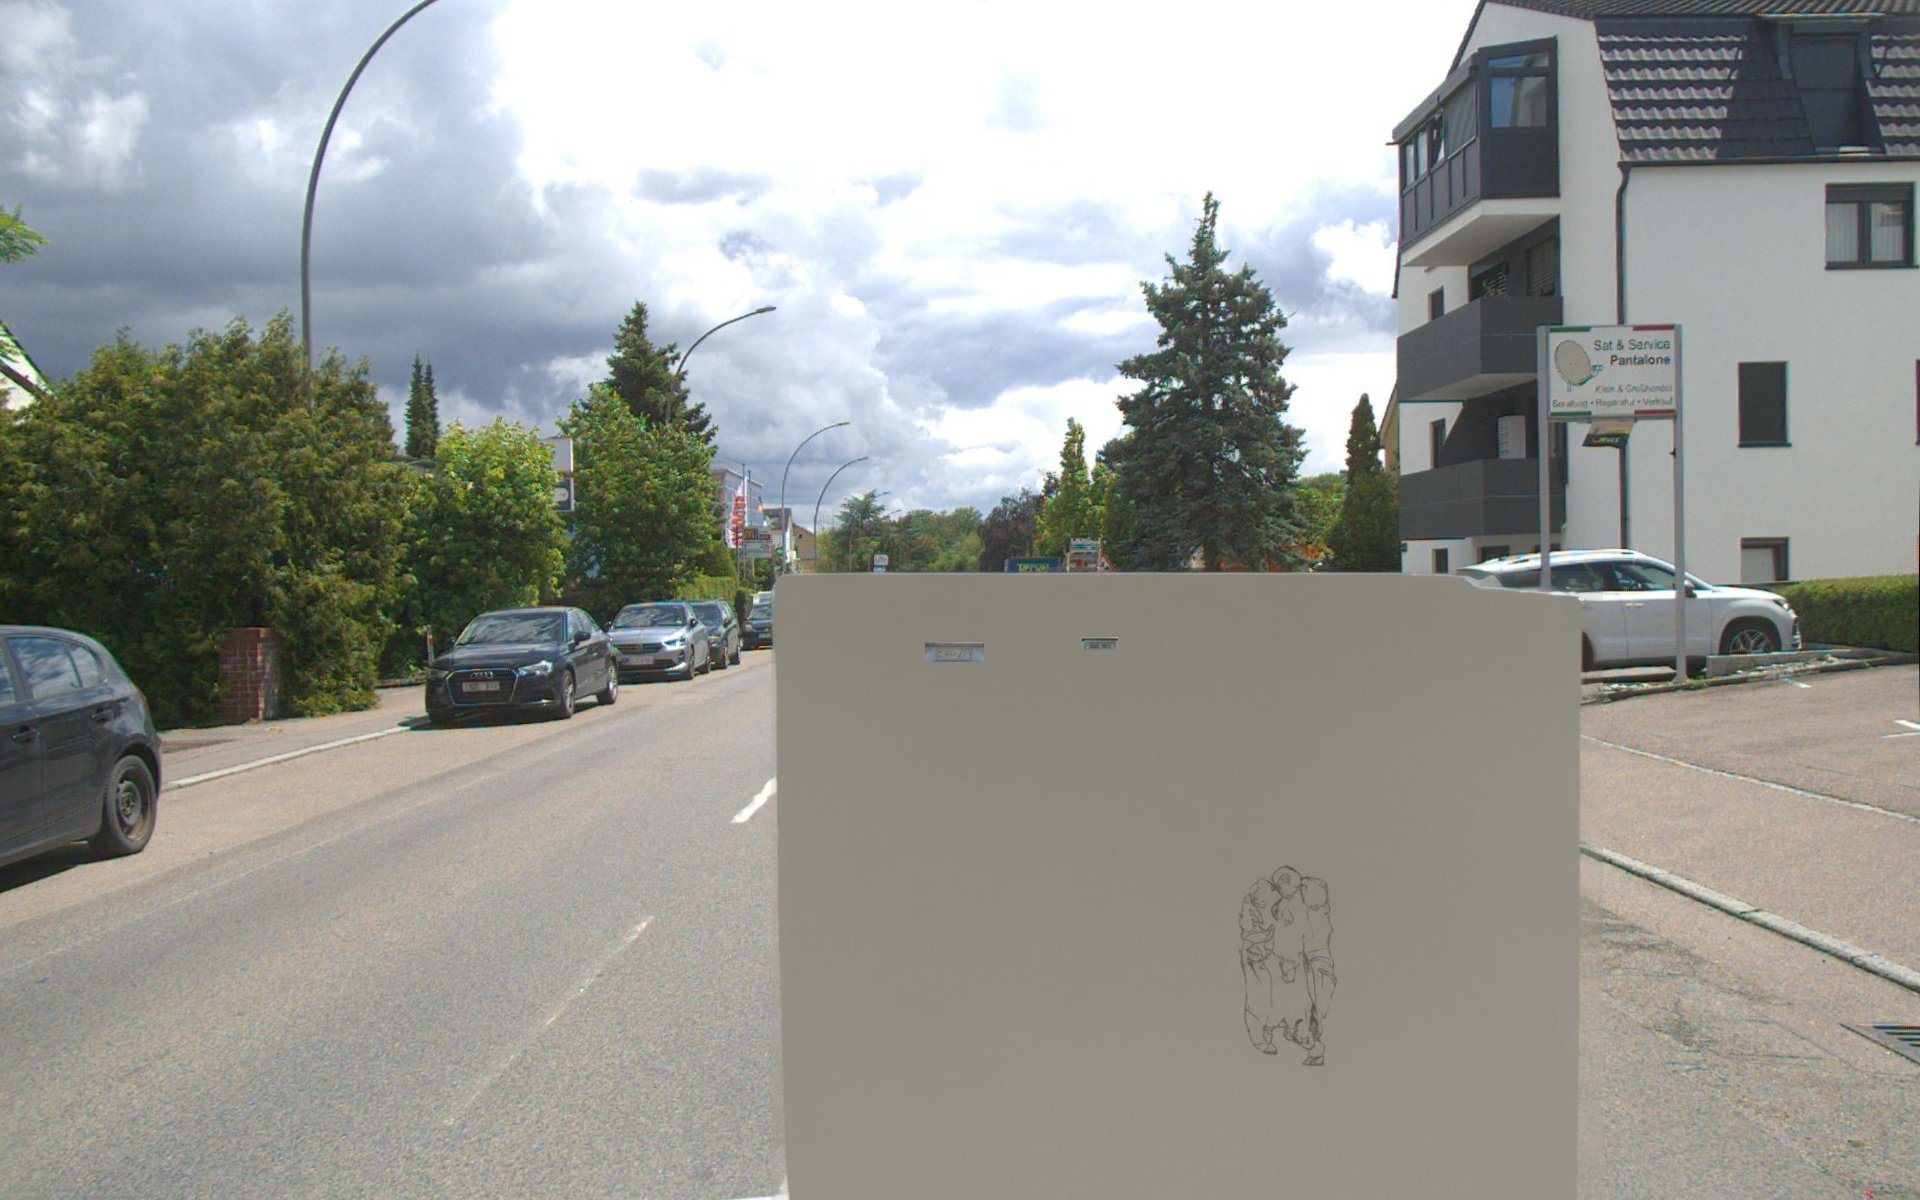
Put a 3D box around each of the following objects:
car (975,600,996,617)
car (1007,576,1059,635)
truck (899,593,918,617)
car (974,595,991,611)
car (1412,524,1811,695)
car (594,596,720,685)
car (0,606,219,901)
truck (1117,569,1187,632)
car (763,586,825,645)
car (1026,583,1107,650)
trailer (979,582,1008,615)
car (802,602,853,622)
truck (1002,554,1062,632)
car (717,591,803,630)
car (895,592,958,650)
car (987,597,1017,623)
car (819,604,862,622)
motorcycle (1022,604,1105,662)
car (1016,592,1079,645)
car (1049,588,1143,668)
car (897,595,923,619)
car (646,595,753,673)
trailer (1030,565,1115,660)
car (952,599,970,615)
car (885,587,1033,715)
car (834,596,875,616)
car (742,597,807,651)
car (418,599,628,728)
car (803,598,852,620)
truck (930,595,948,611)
[{"bbox_3d":[2.407,0.776,157.871,1.756,1.475,4.361,-2,0,-2],"label":"car"},{"bbox_3d":[2.840,0.210,64.755,1.835,2.207,4.464,1,0,0],"label":"car"},{"bbox_3d":[-6.683,0.612,215.027,2.032,2.863,7.079,-2,0,1],"label":"truck"},{"bbox_3d":[2.913,0.326,216.836,2.100,2.018,5.261,-1,0,0],"label":"car"},{"bbox_3d":[7.958,0.107,20.466,4.107,1.682,1.867,-5,0,-1],"label":"car"},{"bbox_3d":[-5.694,0.715,31.485,1.685,1.457,4.198,-3,1,-2],"label":"car"},{"bbox_3d":[-5.700,0.836,8.668,1.629,1.460,4.338,-3,1,0],"label":"car"},{"bbox_3d":[7.266,-0.043,63.100,1.792,2.117,5.385,-4,2,-1],"label":"truck"},{"bbox_3d":[-5.784,0.518,58.152,1.708,1.870,4.354,-4,0,-1],"label":"car"},{"bbox_3d":[2.972,0.429,47.043,1.836,1.757,4.711,-2,0,-2],"label":"car"},{"bbox_3d":[2.445,-0.085,122.067,1.902,2.334,4.444,-2,0,-1],"label":"trailer"},{"bbox_3d":[-10.733,0.968,134.485,4.067,1.518,1.824,1,0,-4],"label":"car"},{"bbox_3d":[3.000,-0.306,70.333,2.273,3.151,6.042,1,0,0],"label":"truck"},{"bbox_3d":[-10.975,0.543,91.084,4.559,2.006,2.114,-1,0,-4],"label":"car"},{"bbox_3d":[-1.005,0.563,47.998,1.720,1.585,3.998,-1,0,-3],"label":"car"},{"bbox_3d":[2.819,0.660,110.644,1.901,1.599,4.447,-2,0,2],"label":"car"},{"bbox_3d":[-12.338,1.353,170.739,4.192,1.594,1.991,-2,-3,0],"label":"car"},{"bbox_3d":[2.342,0.724,37.319,1.802,1.231,0.708,-2,1,-36],"label":"motorcycle"},{"bbox_3d":[2.732,0.557,52.359,1.737,1.534,4.000,-2,0,0],"label":"car"},{"bbox_3d":[2.741,0.536,34.103,1.684,1.457,3.985,-3,1,2],"label":"car"},{"bbox_3d":[-3.439,0.466,114.695,1.708,1.656,4.355,0,0,-1],"label":"car"},{"bbox_3d":[-5.648,0.686,36.379,1.685,1.519,4.734,-2,1,-2],"label":"car"},{"bbox_3d":[2.714,0.285,40.720,1.737,2.182,4.113,-1,0,-1],"label":"trailer"},{"bbox_3d":[0.091,0.737,170.042,1.720,1.585,3.999,-1,0,-1],"label":"car"},{"bbox_3d":[-0.081,0.593,21.691,1.748,1.510,4.315,0,0,-2],"label":"car"},{"bbox_3d":[-11.172,0.669,175.894,4.193,1.868,1.990,-1,-3,-1],"label":"car"},{"bbox_3d":[-5.842,0.732,52.378,1.607,1.512,3.999,-4,0,-1],"label":"car"},{"bbox_3d":[-5.691,0.762,22.086,1.629,1.439,4.338,-2,1,0],"label":"car"},{"bbox_3d":[-12.641,0.864,158.221,4.536,1.661,2.196,-4,1,-4],"label":"car"},{"bbox_3d":[-3.218,0.470,253.853,2.271,2.216,6.450,-2,0,2],"label":"truck"}]
